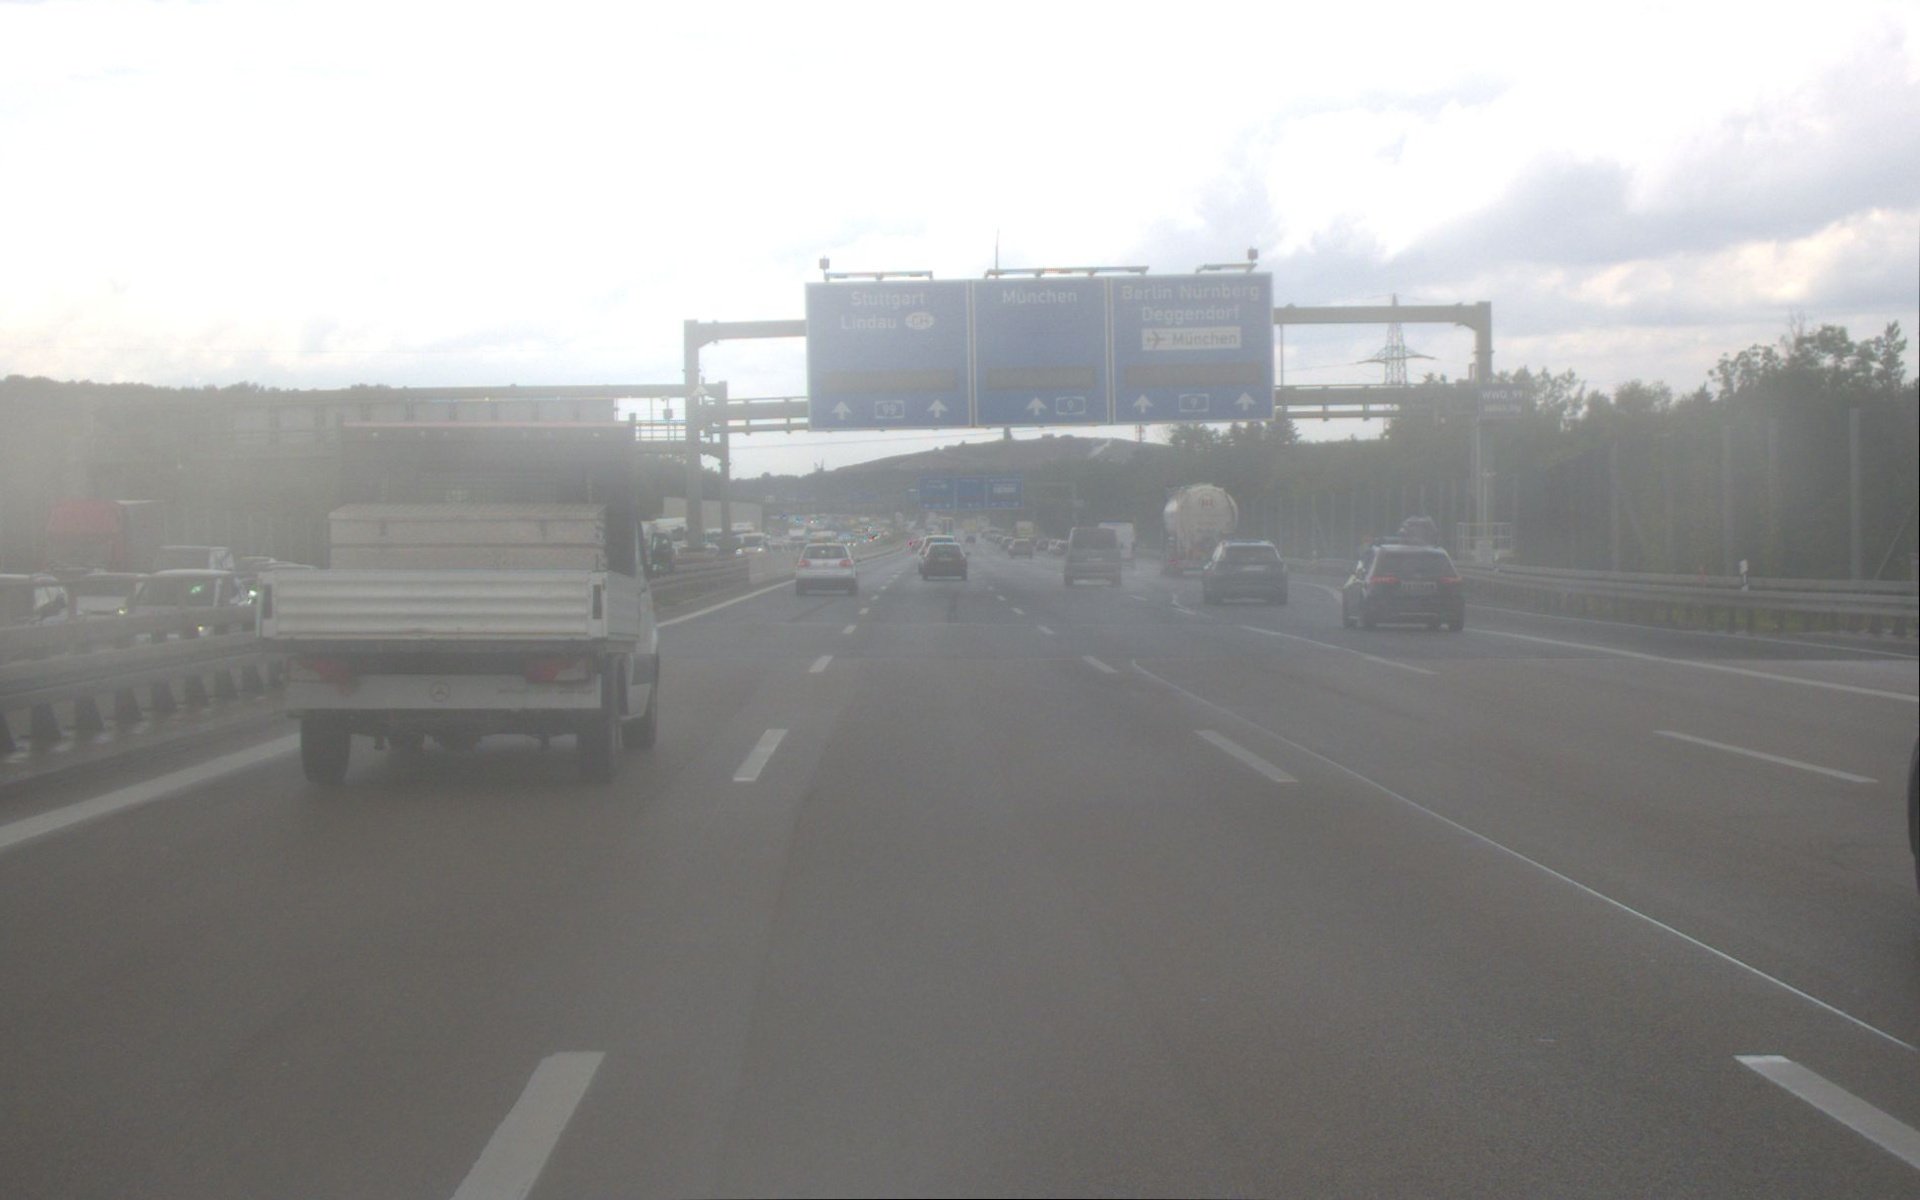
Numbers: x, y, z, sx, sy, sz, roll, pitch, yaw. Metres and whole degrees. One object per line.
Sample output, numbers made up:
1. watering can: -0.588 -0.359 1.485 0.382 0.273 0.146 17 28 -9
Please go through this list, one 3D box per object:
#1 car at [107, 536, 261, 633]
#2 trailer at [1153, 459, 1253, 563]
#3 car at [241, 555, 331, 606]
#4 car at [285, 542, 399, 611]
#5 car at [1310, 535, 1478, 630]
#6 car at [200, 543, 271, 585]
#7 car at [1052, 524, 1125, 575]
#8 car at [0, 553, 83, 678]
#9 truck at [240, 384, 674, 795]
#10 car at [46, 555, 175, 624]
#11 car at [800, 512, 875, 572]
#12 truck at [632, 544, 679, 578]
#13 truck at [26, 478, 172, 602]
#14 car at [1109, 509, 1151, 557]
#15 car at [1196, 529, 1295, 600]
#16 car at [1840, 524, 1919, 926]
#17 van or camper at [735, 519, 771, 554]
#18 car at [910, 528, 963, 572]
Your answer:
1. car: -13.503 -0.300 60.022 1.792 1.613 4.000 0 1 0
2. trailer: 10.161 -3.730 145.007 3.333 4.161 11.839 1 1 0
3. car: -18.468 -0.541 94.297 1.703 1.284 4.187 -1 2 -1
4. car: -13.467 -0.530 75.116 1.645 1.435 4.730 0 1 0
5. car: 7.770 -0.355 62.006 2.104 1.600 5.066 0 2 -3
6. car: -26.658 -1.337 126.672 1.762 1.421 4.342 -1 2 -1
7. car: 4.359 -1.746 117.078 2.097 1.693 4.001 0 2 -3
8. car: -13.466 0.182 47.092 1.792 1.613 4.284 -1 1 0
9. truck: -3.268 -0.154 23.923 2.352 2.400 7.359 1 1 -3
10. car: -18.230 -0.250 73.931 1.645 1.402 4.543 0 1 0
11. car: -3.501 -1.697 99.198 2.045 1.693 4.000 0 2 0
12. truck: -15.686 -2.007 177.341 1.993 1.733 4.671 0 1 0
13. truck: -25.425 -1.822 101.868 2.463 3.524 7.808 -1 2 -1
14. car: 9.036 -3.575 183.145 2.045 2.489 4.000 0 1 0
15. car: 7.164 -0.920 86.754 2.045 1.693 5.007 0 2 0
16. car: 4.643 0.504 12.600 1.792 1.557 3.722 0 1 -1
17. van or camper: -13.448 -4.138 223.366 2.095 2.178 4.971 0 1 0
18. car: -0.897 -1.961 134.139 2.045 1.693 4.000 0 2 0
